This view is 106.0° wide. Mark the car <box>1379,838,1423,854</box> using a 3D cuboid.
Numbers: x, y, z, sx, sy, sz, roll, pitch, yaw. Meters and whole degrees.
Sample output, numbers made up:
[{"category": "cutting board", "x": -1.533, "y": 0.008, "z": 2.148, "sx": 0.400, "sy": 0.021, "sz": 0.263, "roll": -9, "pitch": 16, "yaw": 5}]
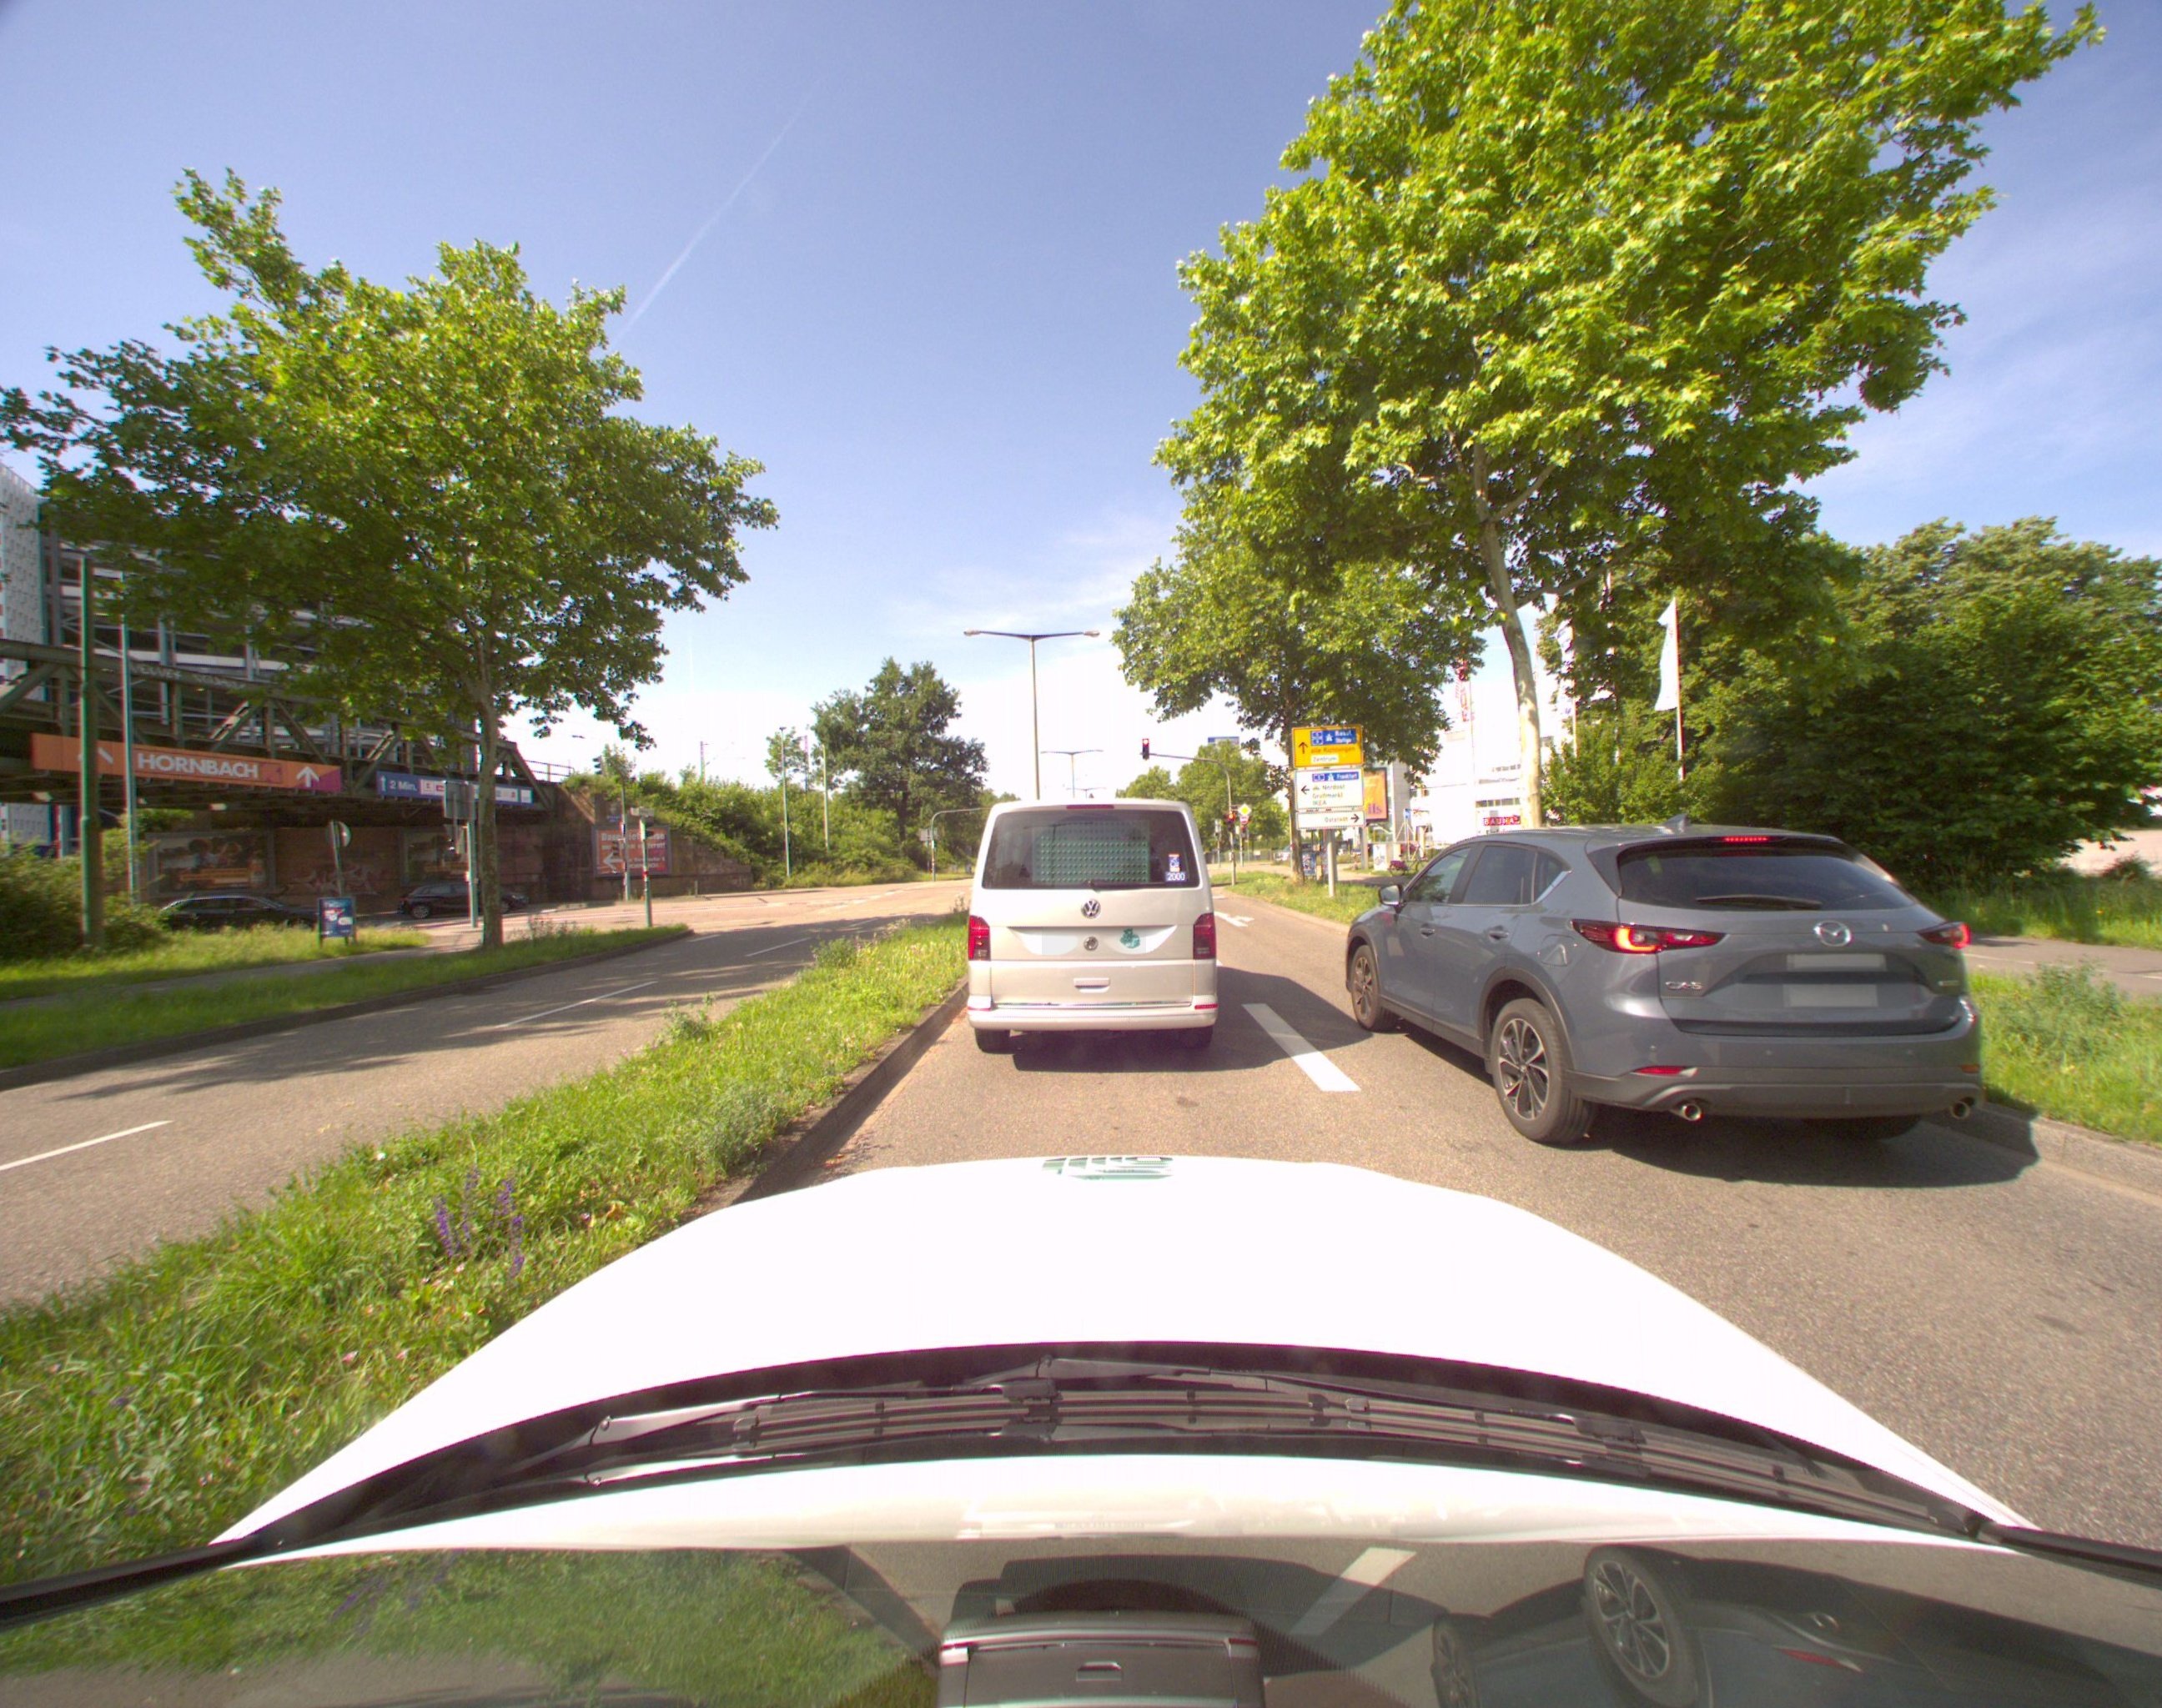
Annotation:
[{"category": "car", "x": 31.991, "y": -0.793, "z": 81.465, "sx": 4.646, "sy": 1.444, "sz": 1.762, "roll": -3, "pitch": 0, "yaw": -35}]

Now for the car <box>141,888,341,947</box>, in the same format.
[{"category": "car", "x": -25.524, "y": 1.883, "z": 24.969, "sx": 3.959, "sy": 1.481, "sz": 1.804, "roll": -1, "pitch": -1, "yaw": -34}]

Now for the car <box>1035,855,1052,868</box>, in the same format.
[{"category": "car", "x": -4.663, "y": 0.955, "z": 101.842, "sx": 1.844, "sy": 1.561, "sz": 3.999, "roll": -3, "pitch": 0, "yaw": 0}]

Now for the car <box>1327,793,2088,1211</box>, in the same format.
[{"category": "car", "x": 3.189, "y": 0.599, "z": 5.519, "sx": 1.759, "sy": 1.659, "sz": 4.497, "roll": -1, "pitch": 0, "yaw": 1}]

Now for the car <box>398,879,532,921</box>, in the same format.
[{"category": "car", "x": -25.603, "y": 1.884, "z": 34.069, "sx": 4.353, "sy": 1.395, "sz": 1.752, "roll": -3, "pitch": 0, "yaw": -35}]

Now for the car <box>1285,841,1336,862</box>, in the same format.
[{"category": "car", "x": 20.975, "y": -0.246, "z": 74.327, "sx": 4.646, "sy": 1.689, "sz": 1.895, "roll": -3, "pitch": 0, "yaw": -35}]

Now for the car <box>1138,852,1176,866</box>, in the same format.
[{"category": "car", "x": 8.587, "y": 0.540, "z": 92.060, "sx": 1.789, "sy": 1.444, "sz": 4.578, "roll": -2, "pitch": 0, "yaw": -33}]

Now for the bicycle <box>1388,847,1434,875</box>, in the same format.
[{"category": "bicycle", "x": 14.194, "y": 0.301, "z": 35.072, "sx": 1.771, "sy": 1.108, "sz": 0.506, "roll": -4, "pitch": -1, "yaw": 20}]

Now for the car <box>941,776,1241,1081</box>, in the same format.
[{"category": "car", "x": 0.143, "y": 0.502, "z": 7.921, "sx": 1.934, "sy": 1.971, "sz": 5.024, "roll": -2, "pitch": 0, "yaw": 2}]

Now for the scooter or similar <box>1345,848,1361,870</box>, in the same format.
[{"category": "scooter or similar", "x": 14.110, "y": 0.240, "z": 42.211, "sx": 0.423, "sy": 1.126, "sz": 1.124, "roll": -3, "pitch": 0, "yaw": 1}]

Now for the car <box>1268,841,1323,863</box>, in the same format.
[{"category": "car", "x": 18.067, "y": -0.180, "z": 68.488, "sx": 4.646, "sy": 1.689, "sz": 1.895, "roll": -3, "pitch": 0, "yaw": -35}]
